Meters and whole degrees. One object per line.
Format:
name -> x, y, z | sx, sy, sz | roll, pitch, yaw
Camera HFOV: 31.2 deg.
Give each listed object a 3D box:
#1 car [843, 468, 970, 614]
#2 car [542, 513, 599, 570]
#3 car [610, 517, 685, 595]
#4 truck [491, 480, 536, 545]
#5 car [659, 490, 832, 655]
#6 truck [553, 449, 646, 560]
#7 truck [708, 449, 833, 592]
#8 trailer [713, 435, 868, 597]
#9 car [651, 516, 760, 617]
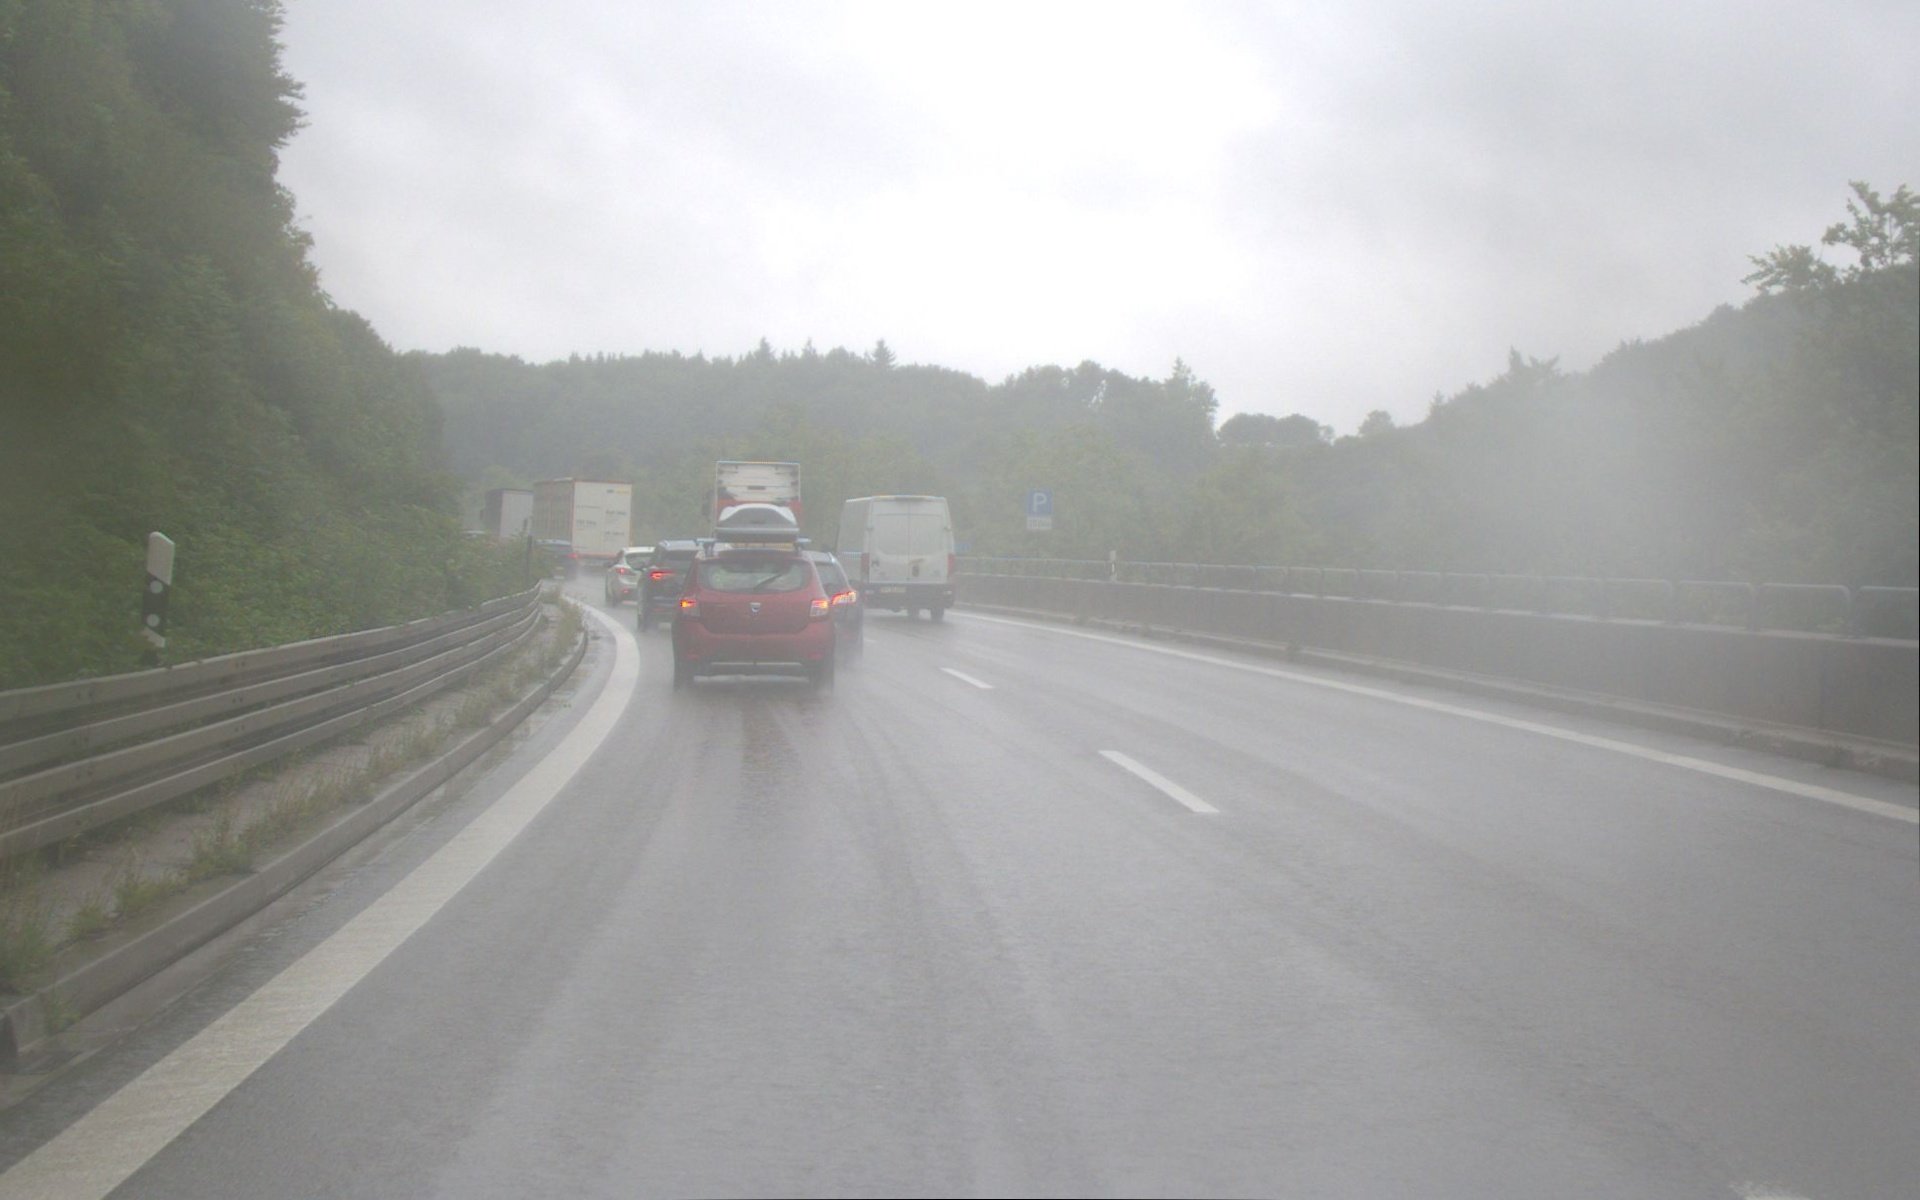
car -> -1.214, -1.229, 73.271 | 2.206, 2.784, 7.383 | 4, 0, -3
car -> -14.128, -2.112, 124.433 | 1.993, 2.007, 4.001 | 1, 1, -7
car -> -7.603, -1.064, 83.366 | 1.715, 1.811, 3.893 | 1, 1, -6
truck -> -24.089, -4.680, 185.211 | 2.104, 3.409, 6.224 | 1, 1, -10
car -> -2.328, -0.307, 37.470 | 1.758, 1.679, 4.001 | 1, 1, -3
truck -> -15.712, -4.085, 149.316 | 3.222, 4.666, 8.302 | 1, 1, -11
truck -> -5.676, -2.340, 102.218 | 3.219, 3.964, 5.440 | 3, 0, -6
trailer -> -4.831, -2.238, 94.895 | 3.218, 3.985, 13.527 | 3, 0, -7
car -> -4.442, -0.590, 60.287 | 1.823, 1.690, 4.001 | 1, 1, -4
